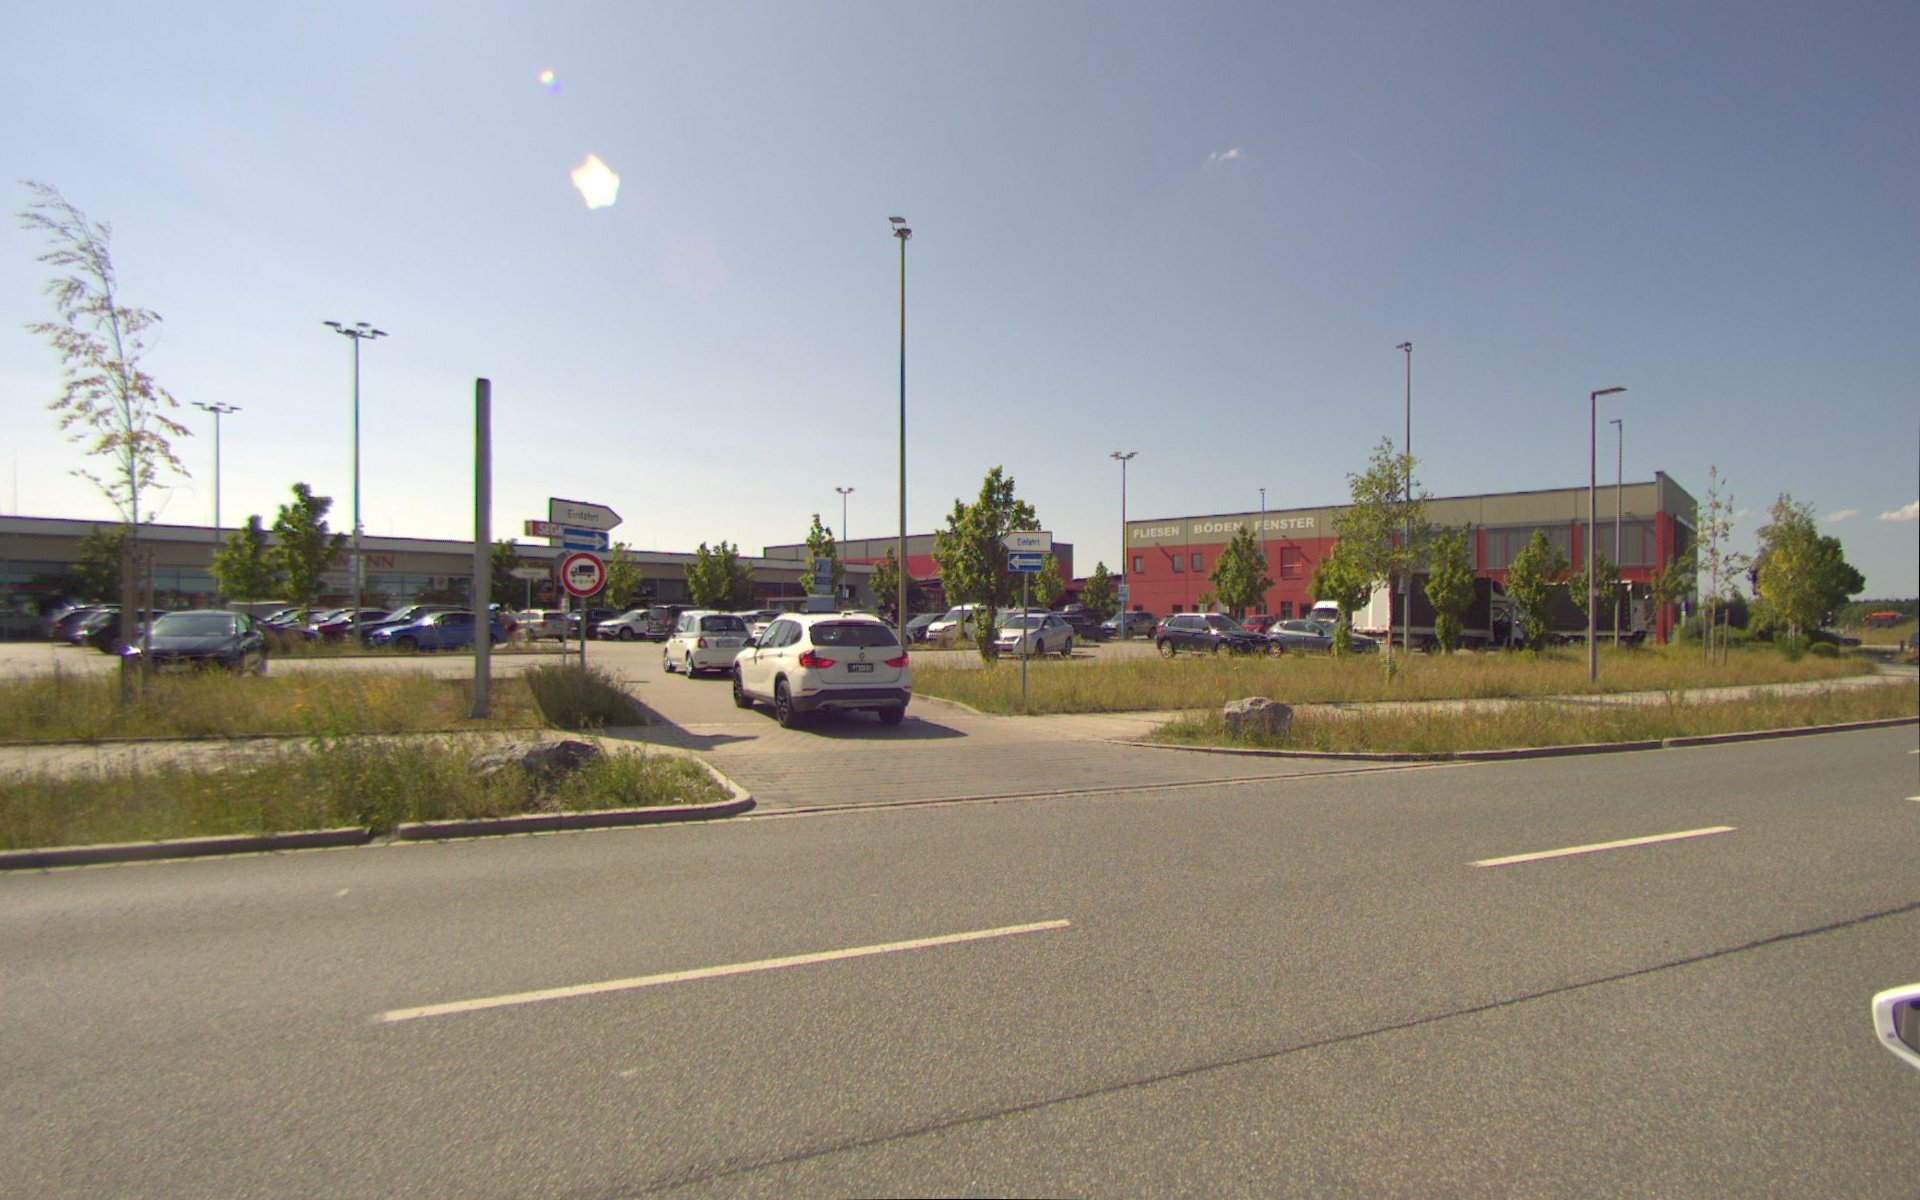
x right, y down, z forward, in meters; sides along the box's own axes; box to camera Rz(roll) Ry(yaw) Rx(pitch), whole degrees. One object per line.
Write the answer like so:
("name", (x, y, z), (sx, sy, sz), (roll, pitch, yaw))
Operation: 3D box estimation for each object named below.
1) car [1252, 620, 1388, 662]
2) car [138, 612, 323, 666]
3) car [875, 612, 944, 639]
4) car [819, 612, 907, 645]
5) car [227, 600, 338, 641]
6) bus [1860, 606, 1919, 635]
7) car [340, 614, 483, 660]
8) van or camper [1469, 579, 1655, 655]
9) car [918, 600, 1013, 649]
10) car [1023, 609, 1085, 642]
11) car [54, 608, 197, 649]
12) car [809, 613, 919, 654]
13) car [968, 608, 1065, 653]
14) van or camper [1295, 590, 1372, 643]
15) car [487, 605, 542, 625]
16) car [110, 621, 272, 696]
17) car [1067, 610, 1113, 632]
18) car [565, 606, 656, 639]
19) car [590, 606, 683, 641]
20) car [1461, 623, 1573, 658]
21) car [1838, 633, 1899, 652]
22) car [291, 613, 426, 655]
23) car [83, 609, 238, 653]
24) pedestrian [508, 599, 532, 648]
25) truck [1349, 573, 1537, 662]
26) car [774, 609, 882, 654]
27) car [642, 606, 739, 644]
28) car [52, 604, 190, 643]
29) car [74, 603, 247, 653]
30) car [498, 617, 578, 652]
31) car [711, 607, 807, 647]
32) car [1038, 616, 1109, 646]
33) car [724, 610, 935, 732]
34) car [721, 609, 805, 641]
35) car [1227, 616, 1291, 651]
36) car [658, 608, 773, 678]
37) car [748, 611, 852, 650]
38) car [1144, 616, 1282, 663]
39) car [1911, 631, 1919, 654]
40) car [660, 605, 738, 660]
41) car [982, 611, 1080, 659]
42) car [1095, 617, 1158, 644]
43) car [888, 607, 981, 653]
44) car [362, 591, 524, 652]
("car", (12.966, 1.442, 36.444), (1.954, 1.402, 4.398), (2, -1, -33))
("car", (-22.241, 1.150, 30.755), (1.692, 1.536, 4.333), (-1, -2, 41))
("car", (-3.181, 1.654, 64.042), (1.812, 1.654, 4.358), (0, -2, 42))
("car", (-4.896, 1.435, 51.226), (1.812, 1.603, 4.358), (0, -2, 42))
("car", (-33.815, 1.041, 50.223), (1.692, 1.984, 4.333), (-1, -2, 41))
("bus", (108.331, 2.291, 114.589), (12.009, 3.120, 2.785), (-1, -1, -18))
("car", (-20.178, 1.335, 37.090), (1.692, 1.602, 4.333), (-1, -2, 41))
("van or camper", (29.950, 0.840, 50.282), (2.537, 3.514, 7.620), (2, -2, -43))
("car", (0.314, 1.115, 44.929), (1.812, 2.092, 4.358), (0, -2, 42))
("car", (5.968, 1.605, 63.500), (1.810, 2.021, 4.362), (0, -2, 40))
("car", (-34.334, 1.162, 41.405), (1.692, 1.623, 4.333), (-1, -2, 41))
("car", (-3.803, 1.336, 40.387), (1.812, 1.532, 4.358), (0, -2, 42))
("car", (2.485, 1.291, 43.094), (1.812, 1.847, 4.358), (0, -2, 42))
("van or camper", (24.619, 1.124, 66.040), (2.402, 3.314, 7.200), (0, -2, 41))
("car", (-41.993, 1.458, 94.693), (1.890, 1.814, 4.358), (0, -2, 42))
("car", (-15.492, 1.110, 20.482), (1.912, 1.366, 4.128), (1, -1, -28))
("car", (10.140, 1.640, 77.989), (1.641, 1.607, 4.065), (0, -2, 40))
("car", (-19.004, 1.233, 54.711), (1.887, 1.740, 4.364), (0, -2, 38))
("car", (-17.015, 1.233, 53.053), (1.887, 1.748, 4.364), (0, -2, 38))
("car", (26.404, 1.886, 47.696), (1.826, 1.573, 4.325), (2, -2, -44))
("car", (78.854, 3.639, 87.240), (1.740, 1.537, 3.796), (1, -1, -6))
("car", (-24.133, 1.332, 40.419), (1.692, 1.596, 4.333), (-1, -2, 41))
("car", (-30.012, 1.165, 37.812), (1.692, 1.564, 4.333), (-1, -2, 41))
("pedestrian", (-16.464, 0.879, 37.576), (0.788, 1.783, 0.544), (0, -1, 43))
("truck", (20.105, 0.763, 41.828), (7.369, 3.510, 2.317), (1, -1, -15))
("car", (-5.535, 1.326, 42.523), (1.890, 1.827, 4.358), (0, -2, 42))
("car", (-13.237, 1.238, 49.487), (1.887, 1.817, 4.364), (0, -2, 38))
("car", (-35.912, 1.010, 43.070), (1.759, 1.616, 4.333), (-1, -2, 41))
("car", (-26.773, 0.935, 33.748), (1.692, 1.581, 4.333), (-1, -2, 41))
("car", (-20.182, 1.619, 47.994), (3.938, 1.568, 1.832), (0, -1, 39))
("car", (-9.317, 1.255, 46.830), (1.884, 1.740, 4.371), (0, -1, 32))
("car", (6.279, 1.692, 55.364), (1.810, 1.583, 4.362), (0, -2, 40))
("car", (-2.122, 0.962, 15.208), (1.893, 1.568, 4.197), (1, -1, -27))
("car", (-10.896, 1.411, 55.775), (1.812, 1.689, 4.358), (0, -2, 42))
("car", (16.411, 1.830, 55.037), (1.810, 1.797, 4.362), (0, -2, 40))
("car", (-6.078, 1.010, 24.623), (1.893, 1.568, 3.973), (1, -1, -27))
("car", (-7.056, 1.350, 44.687), (1.890, 1.639, 4.358), (0, -2, 42))
("car", (8.458, 1.291, 33.973), (1.818, 1.478, 4.549), (1, -1, -33))
("car", (76.352, 3.337, 78.547), (1.924, 1.818, 4.416), (-2, -2, 32))
("car", (-8.095, 0.975, 30.899), (1.889, 1.568, 3.981), (1, -1, -21))
("car", (2.557, 1.203, 35.069), (1.804, 1.532, 4.617), (0, -1, 26))
("car", (10.047, 1.836, 60.285), (1.810, 1.583, 4.362), (0, -2, 40))
("car", (-1.131, 1.387, 46.523), (1.812, 2.024, 4.358), (0, -2, 42))
("car", (-18.118, 0.773, 35.398), (1.692, 2.012, 4.810), (-1, -2, 41))
